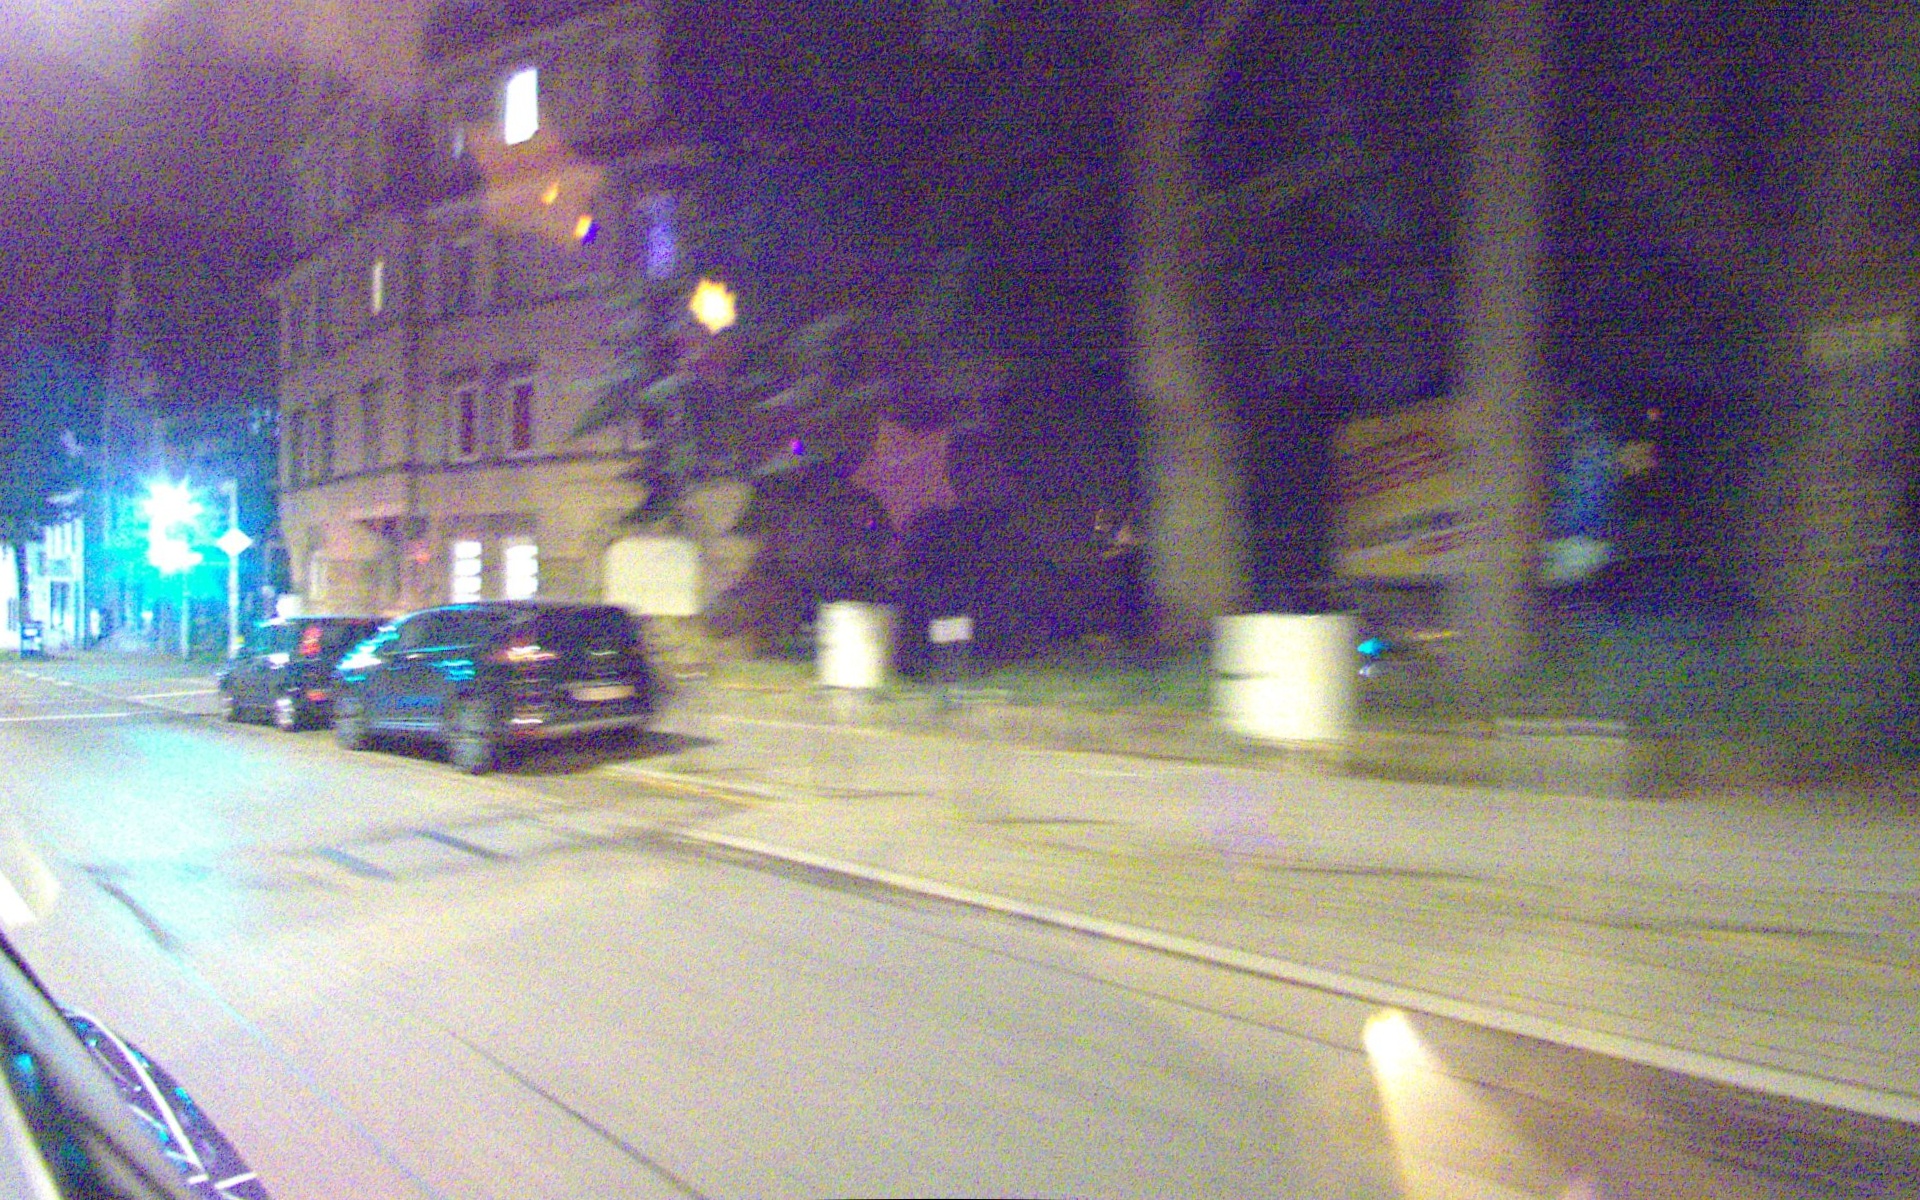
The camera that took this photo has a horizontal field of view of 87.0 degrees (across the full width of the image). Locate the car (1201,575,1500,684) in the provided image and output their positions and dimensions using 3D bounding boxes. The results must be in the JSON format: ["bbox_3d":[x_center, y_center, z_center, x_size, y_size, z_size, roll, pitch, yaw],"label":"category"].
[{"bbox_3d":[5.339,0.363,14.036,3.559,1.326,1.541,-1,0,39],"label":"car"}]

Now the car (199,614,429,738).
[{"bbox_3d":[-9.375,0.993,14.595,3.696,1.526,1.632,-1,0,38],"label":"car"}]

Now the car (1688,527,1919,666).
[{"bbox_3d":[11.634,-0.078,12.494,1.734,1.618,3.987,-4,2,-40],"label":"car"}]

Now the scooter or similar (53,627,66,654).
[{"bbox_3d":[-41.989,1.884,47.190,1.335,1.235,0.328,-1,0,43],"label":"scooter or similar"}]

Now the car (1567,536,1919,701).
[{"bbox_3d":[9.055,0.146,10.800,4.184,1.549,1.739,-1,3,40],"label":"car"}]

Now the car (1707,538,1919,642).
[{"bbox_3d":[14.665,-0.168,16.081,1.822,1.554,4.159,-2,0,-38],"label":"car"}]

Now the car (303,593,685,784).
[{"bbox_3d":[-5.250,0.851,11.111,4.664,1.663,1.831,-2,0,38],"label":"car"}]
